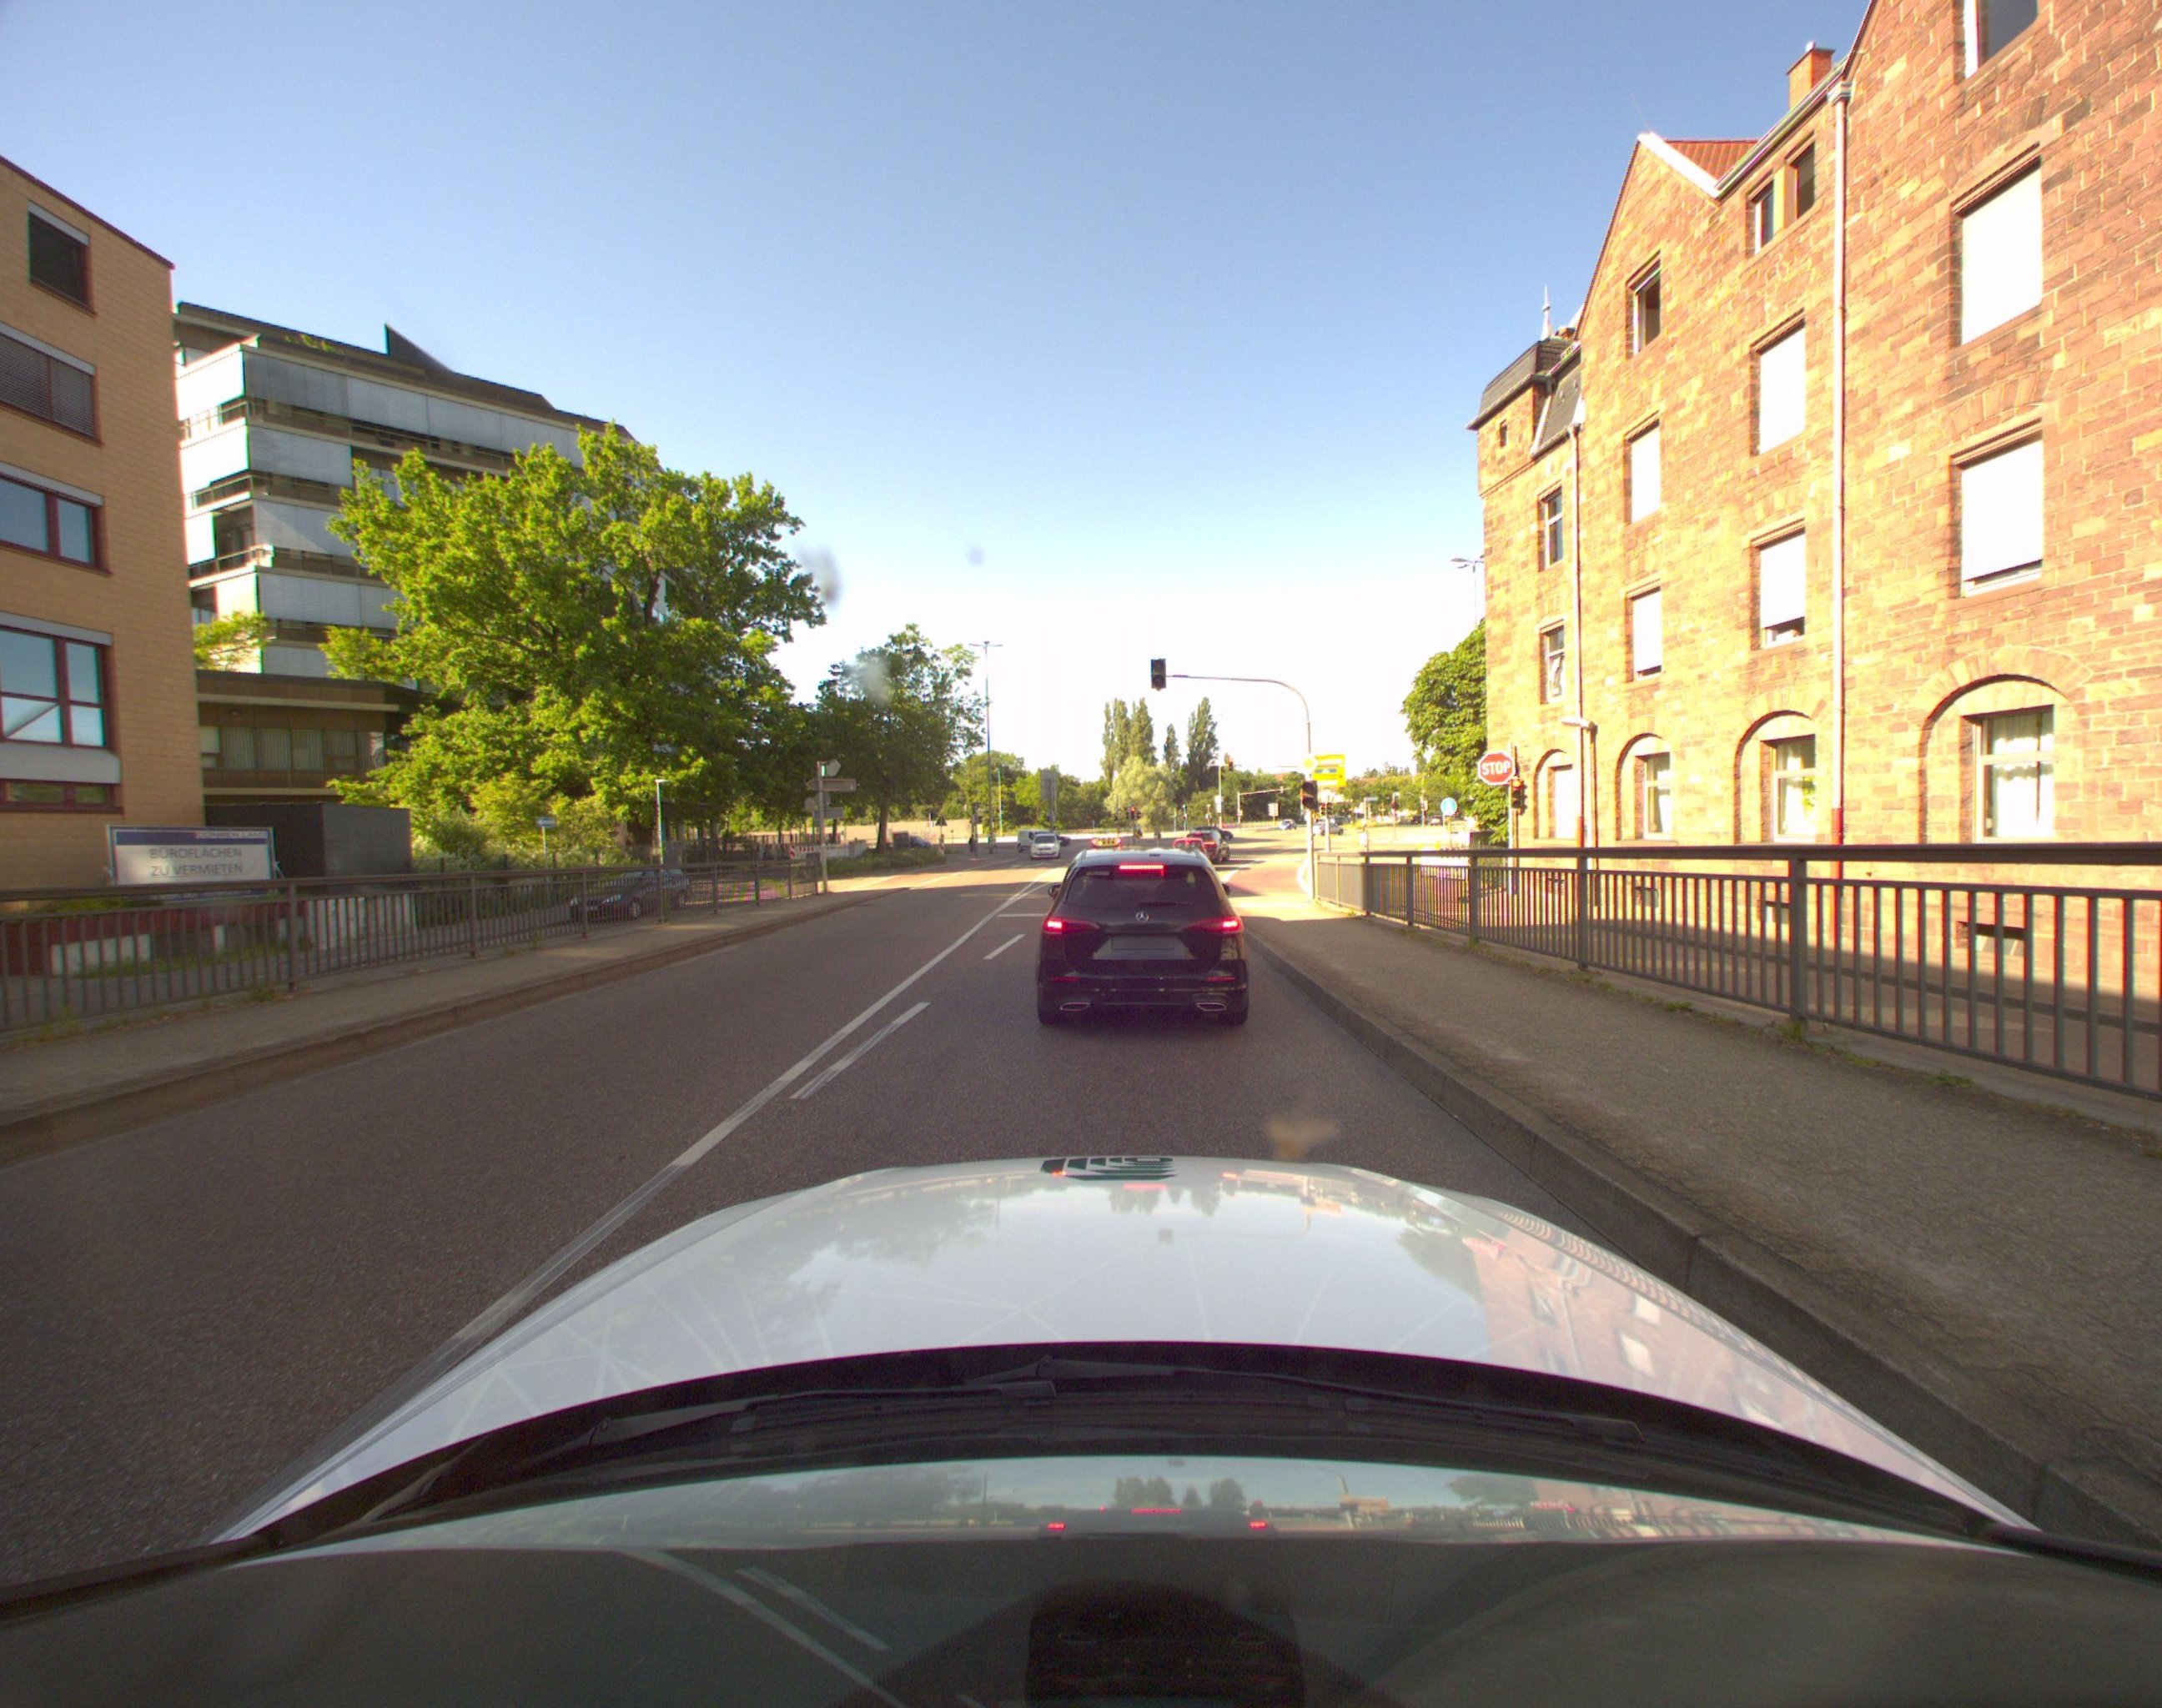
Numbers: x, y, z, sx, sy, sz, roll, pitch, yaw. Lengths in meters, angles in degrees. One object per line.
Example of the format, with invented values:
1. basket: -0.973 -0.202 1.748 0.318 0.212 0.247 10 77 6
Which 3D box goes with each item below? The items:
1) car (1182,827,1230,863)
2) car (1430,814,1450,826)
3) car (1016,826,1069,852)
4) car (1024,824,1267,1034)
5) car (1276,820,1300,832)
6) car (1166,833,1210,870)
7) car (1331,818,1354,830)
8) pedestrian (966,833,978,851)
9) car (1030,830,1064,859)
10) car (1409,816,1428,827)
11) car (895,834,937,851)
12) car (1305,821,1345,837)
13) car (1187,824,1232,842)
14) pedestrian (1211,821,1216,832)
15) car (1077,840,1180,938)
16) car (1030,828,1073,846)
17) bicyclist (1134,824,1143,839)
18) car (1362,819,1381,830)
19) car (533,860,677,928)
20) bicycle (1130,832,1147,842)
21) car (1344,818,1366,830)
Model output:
1. car: 6.720 -0.494 43.306 1.707 1.812 4.318 -2 0 19
2. car: 49.683 -4.650 112.713 1.722 1.497 4.026 -2 0 35
3. car: -3.019 -1.136 62.905 1.931 1.794 4.848 -4 2 -33
4. car: 0.550 0.556 8.305 1.871 1.613 4.001 0 1 1
5. car: 30.147 -4.050 118.401 1.860 1.578 4.026 -1 2 37
6. car: 5.001 -0.151 37.708 1.710 1.521 3.499 -1 3 12
7. car: 37.809 -4.355 117.690 1.860 1.578 4.026 -1 2 37
8. pedestrian: -8.884 -0.988 66.560 0.700 1.525 0.746 -1 1 12
9. car: -2.125 -0.646 51.942 1.771 1.635 4.003 -3 3 2
10. car: 50.188 -4.797 120.973 1.866 1.547 4.025 -1 0 33
11. car: -17.450 -1.178 85.899 4.354 1.629 1.903 -1 2 36
12. car: 25.854 -2.654 86.176 4.014 1.629 1.872 -3 1 -32
13. car: 12.635 -2.111 80.253 3.985 1.629 1.886 -2 1 -8
14. pedestrian: 18.838 -3.914 116.078 0.446 1.585 0.504 -2 2 42
15. car: 0.898 0.555 15.263 1.633 1.529 3.478 -2 1 4
16. car: -2.870 -1.679 79.748 3.966 1.629 1.895 -2 1 6
17. bicyclist: 6.317 -2.497 89.457 0.811 1.551 0.521 -4 2 -42
18. car: 48.718 -4.963 136.380 1.860 1.578 4.026 -1 2 37
19. car: -14.221 1.126 24.639 1.845 1.692 4.002 -2 2 1
20. bicycle: 6.336 -1.881 89.481 2.001 1.050 0.521 -4 2 -42
21. car: 41.671 -4.582 123.760 1.860 1.578 4.026 -1 2 37
